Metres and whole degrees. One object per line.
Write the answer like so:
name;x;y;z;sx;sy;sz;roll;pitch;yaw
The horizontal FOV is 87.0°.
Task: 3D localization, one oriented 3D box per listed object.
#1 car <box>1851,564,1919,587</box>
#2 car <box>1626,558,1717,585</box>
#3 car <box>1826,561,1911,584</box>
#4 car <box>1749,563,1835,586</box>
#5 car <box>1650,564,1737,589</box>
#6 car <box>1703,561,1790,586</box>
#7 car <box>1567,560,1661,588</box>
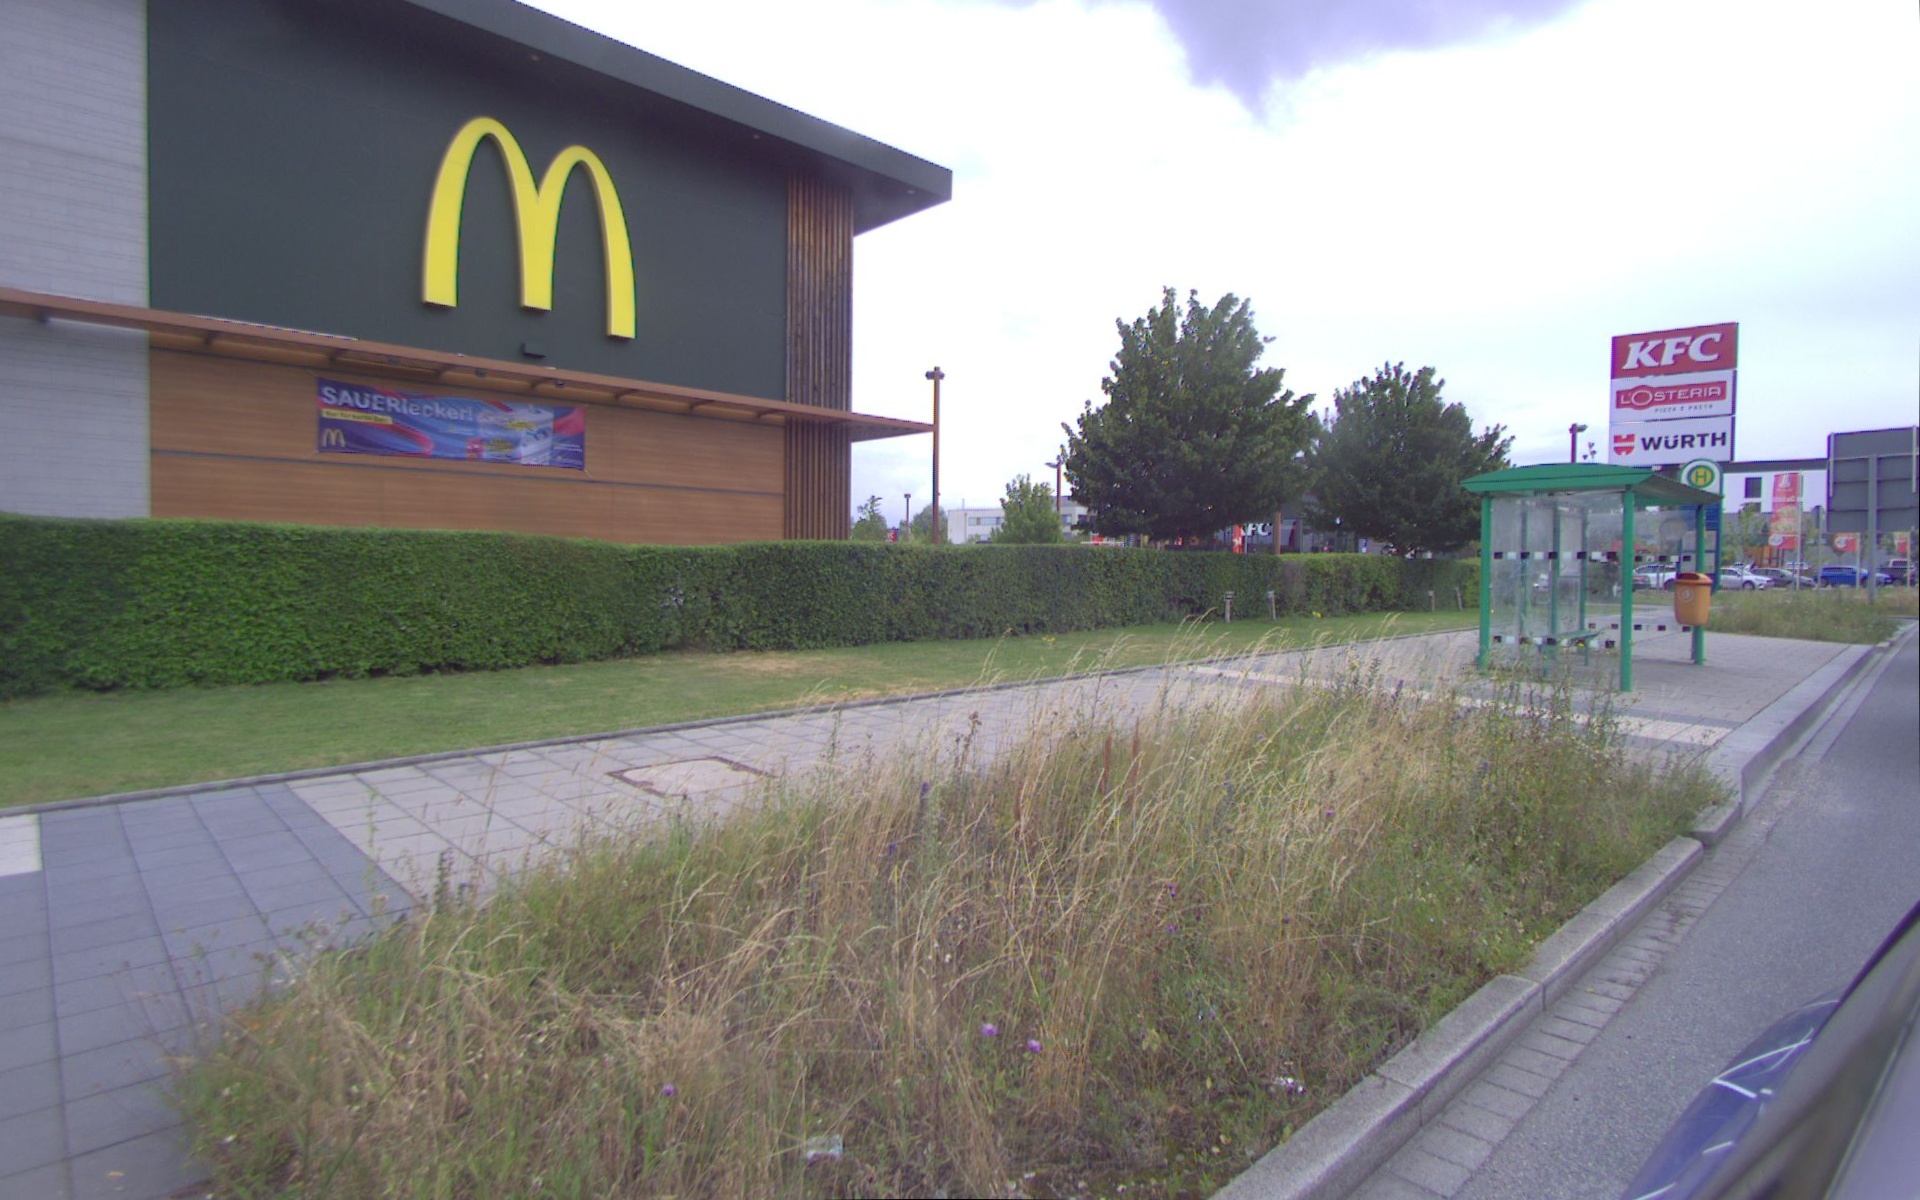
car;65.794;-1.716;71.402;1.810;1.504;4.006;-2;1;-27
car;41.797;-1.671;59.518;1.812;1.541;4.000;-1;2;-35
car;63.374;-1.876;70.639;1.810;1.504;4.006;-2;1;-27
car;54.700;-1.709;66.584;1.811;1.504;4.004;-1;2;-31
car;45.650;-1.480;63.063;1.813;1.504;4.000;-1;2;-36
car;50.060;-1.714;64.467;1.811;1.504;4.004;-1;2;-31
car;36.063;-1.459;55.904;1.812;1.504;4.000;-1;2;-35
